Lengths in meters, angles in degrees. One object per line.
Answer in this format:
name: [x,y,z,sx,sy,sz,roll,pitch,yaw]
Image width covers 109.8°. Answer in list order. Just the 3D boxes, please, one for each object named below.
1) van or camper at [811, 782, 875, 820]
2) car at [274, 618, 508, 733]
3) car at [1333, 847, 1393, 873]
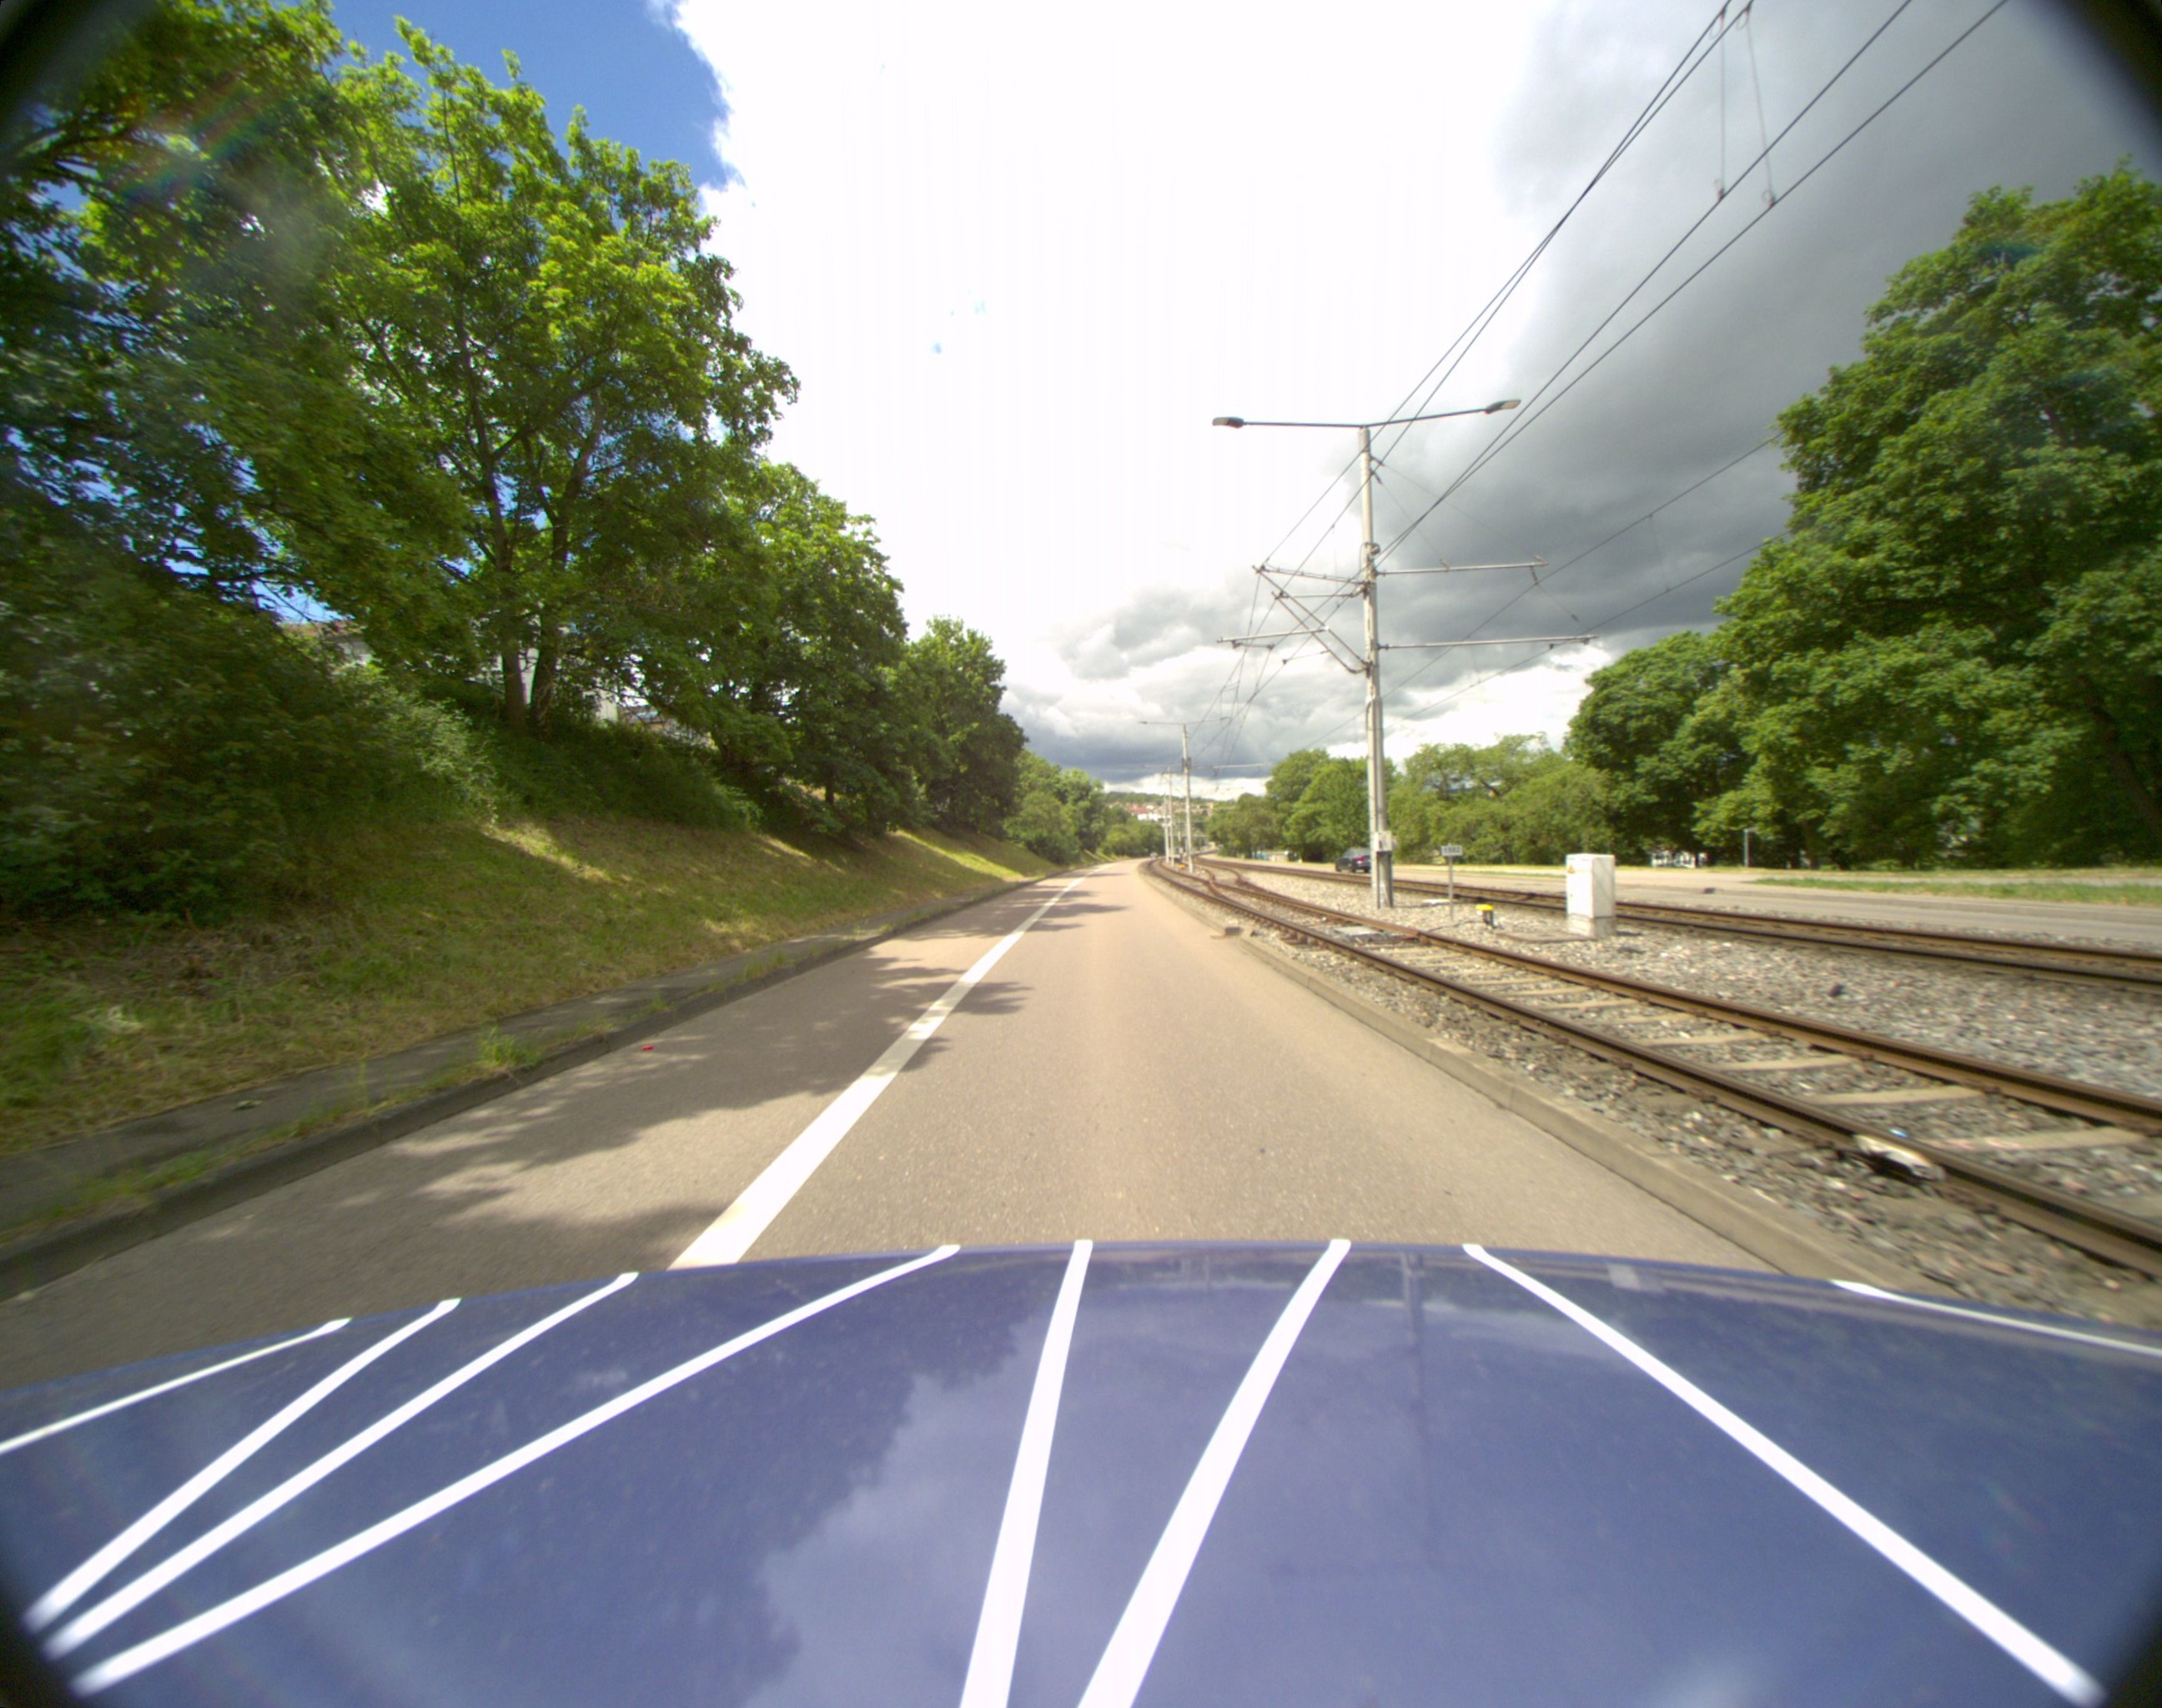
van or camper: [-16.040,-3.519,51.608,2.222,2.057,6.162,-2,0,1]
car: [-15.888,-4.039,17.826,1.648,1.677,4.044,-2,0,2]
car: [15.889,0.286,43.089,1.840,1.383,4.862,0,0,3]
